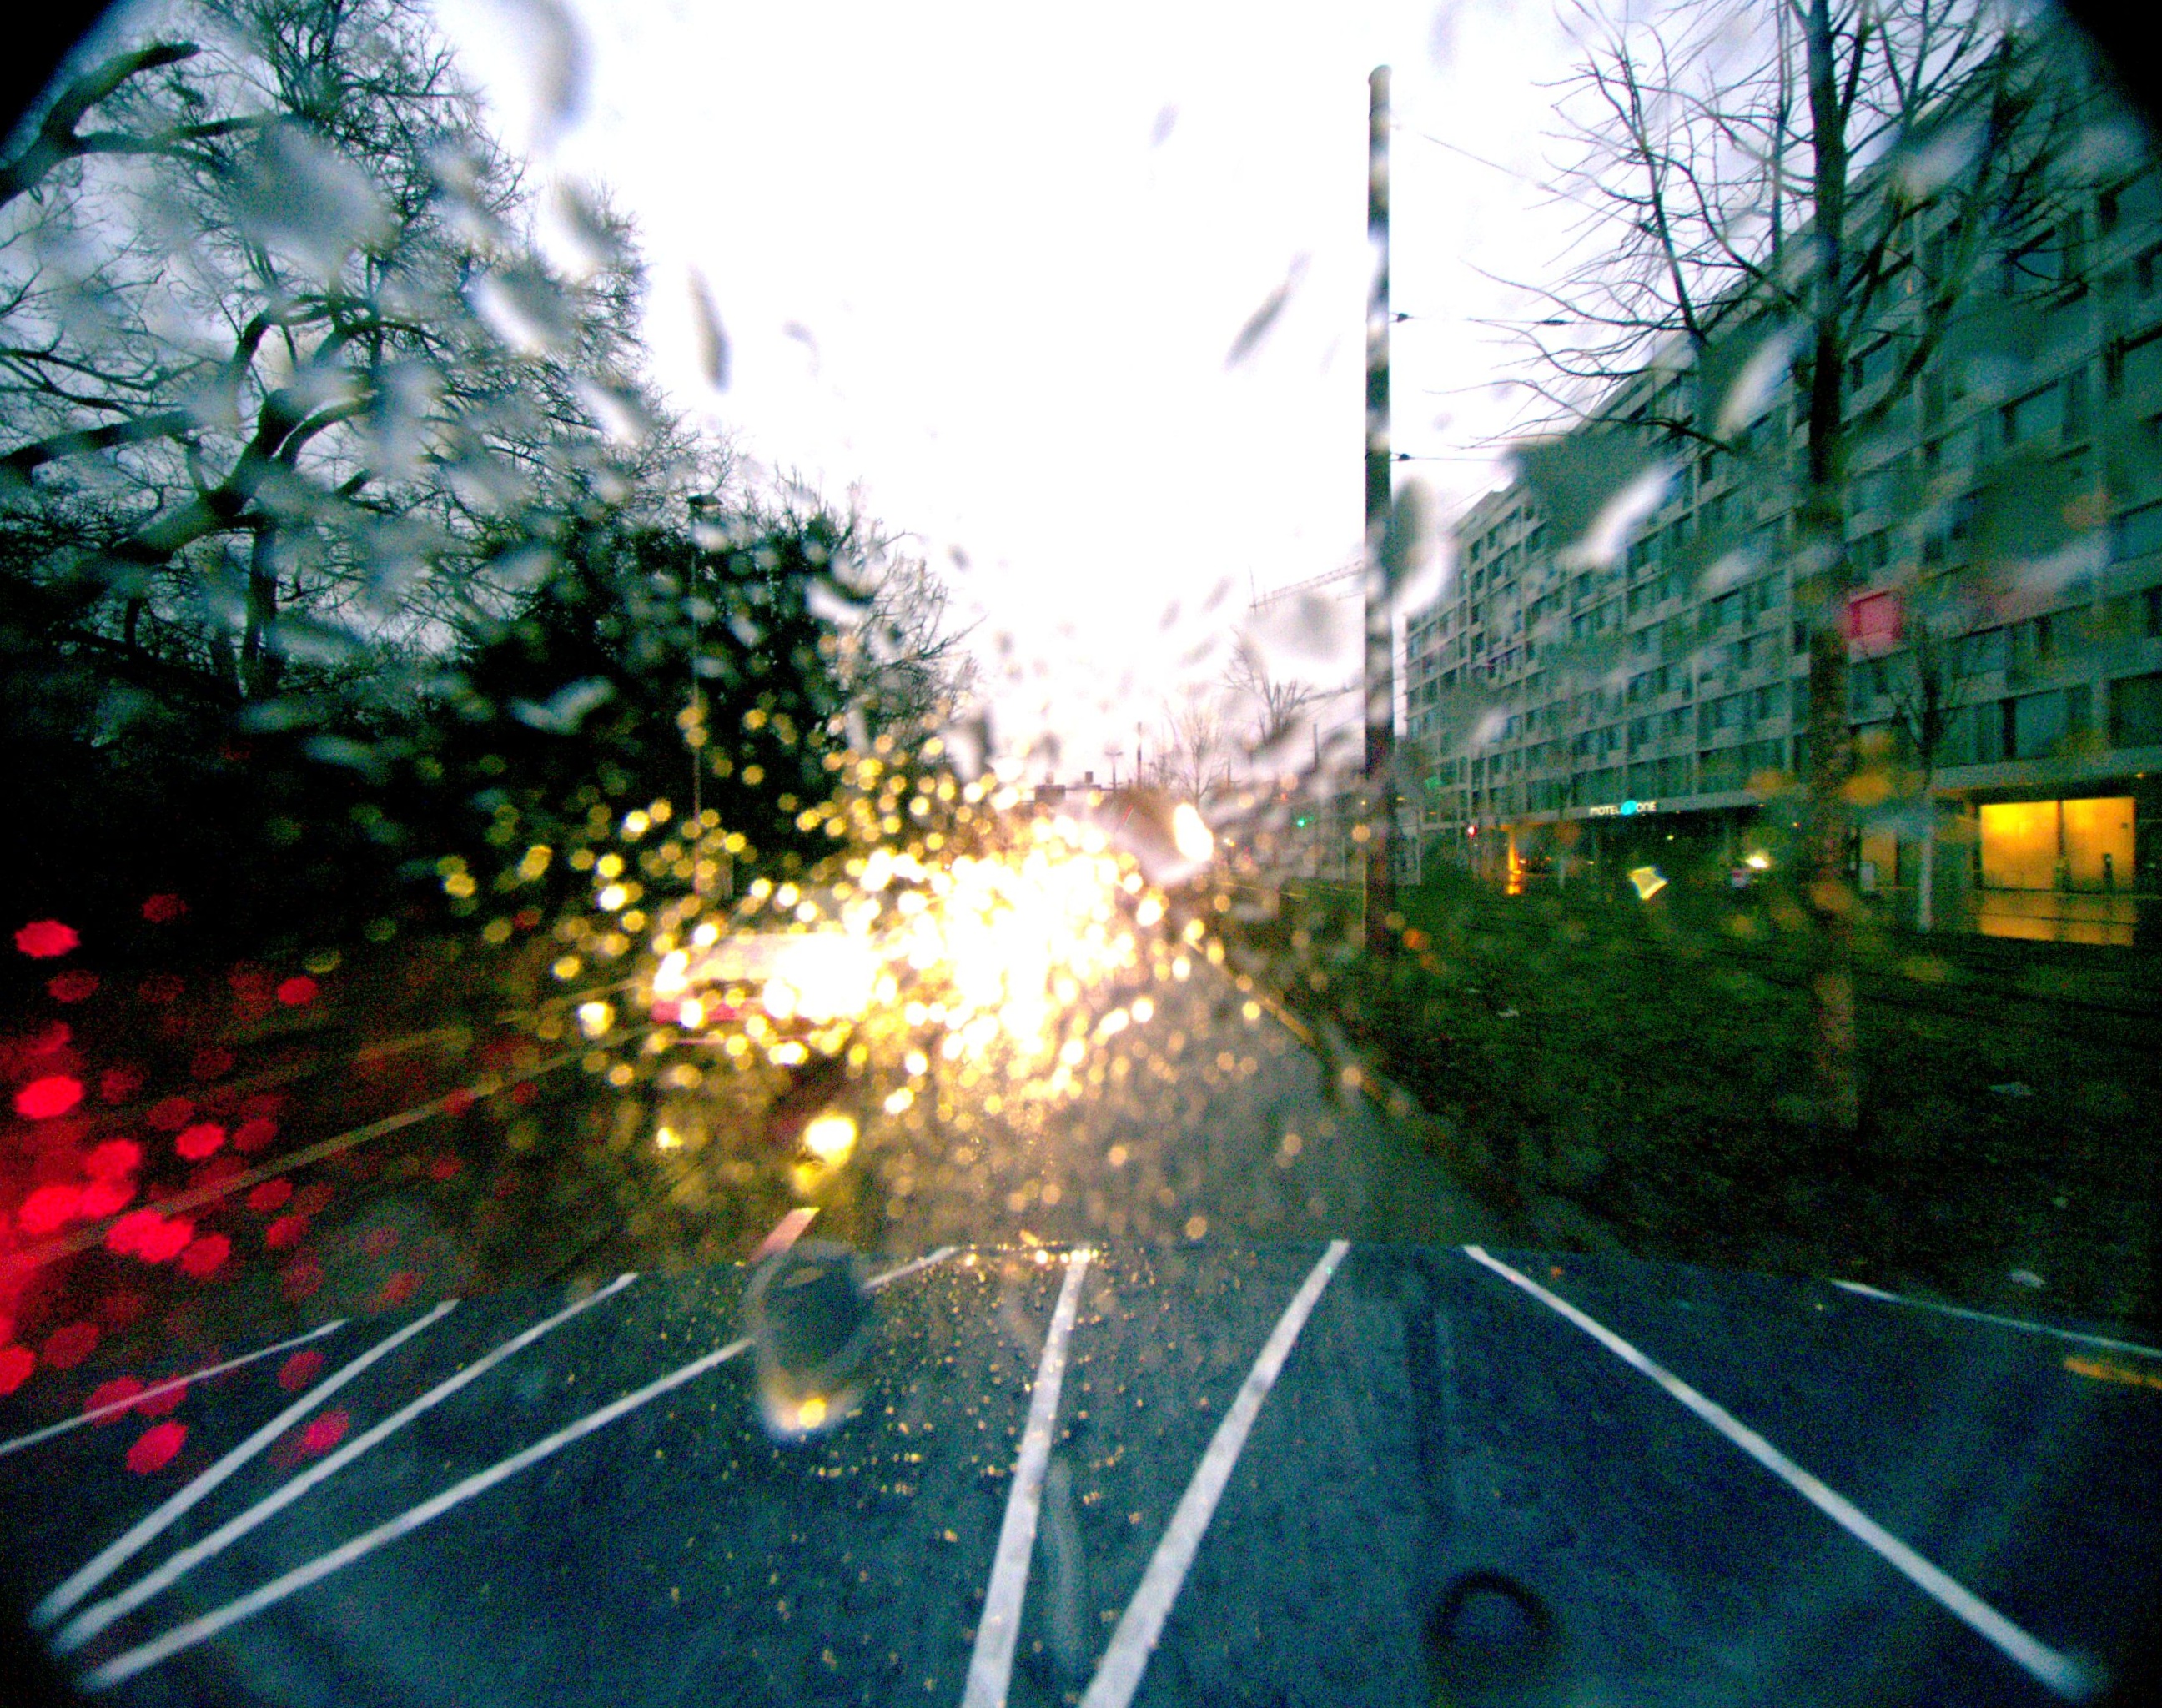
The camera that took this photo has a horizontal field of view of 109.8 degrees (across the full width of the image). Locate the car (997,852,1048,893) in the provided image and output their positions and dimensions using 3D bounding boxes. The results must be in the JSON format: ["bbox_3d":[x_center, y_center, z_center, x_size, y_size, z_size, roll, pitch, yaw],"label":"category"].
[{"bbox_3d":[-2.585,0.753,33.873,2.074,1.618,4.266,-2,0,-4],"label":"car"}]

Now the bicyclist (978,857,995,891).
[{"bbox_3d":[-4.824,1.026,38.696,0.691,1.675,0.593,-2,1,1],"label":"bicyclist"}]

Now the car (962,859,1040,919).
[{"bbox_3d":[-2.501,1.059,24.769,2.073,1.618,4.267,-2,0,-1],"label":"car"}]

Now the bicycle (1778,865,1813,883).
[{"bbox_3d":[36.314,1.011,38.632,1.349,0.849,0.465,-2,1,-1],"label":"bicycle"}]

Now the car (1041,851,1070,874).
[{"bbox_3d":[-1.963,0.584,57.468,1.999,1.618,4.266,-1,0,-5],"label":"car"}]

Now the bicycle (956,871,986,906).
[{"bbox_3d":[-5.102,1.563,35.428,0.968,1.442,3.389,-2,1,-2],"label":"bicycle"}]

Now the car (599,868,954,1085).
[{"bbox_3d":[-2.638,0.961,7.791,1.886,1.552,4.171,0,0,1],"label":"car"}]

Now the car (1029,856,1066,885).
[{"bbox_3d":[-2.079,1.001,48.411,1.998,1.618,4.268,-2,0,1],"label":"car"}]

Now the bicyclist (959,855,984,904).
[{"bbox_3d":[-5.133,1.194,35.537,0.968,2.210,0.935,-2,1,-3],"label":"bicyclist"}]

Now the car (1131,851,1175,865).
[{"bbox_3d":[8.537,0.462,90.267,5.035,1.659,2.090,0,0,11],"label":"car"}]

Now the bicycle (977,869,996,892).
[{"bbox_3d":[-4.820,1.334,38.747,0.691,1.036,1.721,-2,1,1],"label":"bicycle"}]
